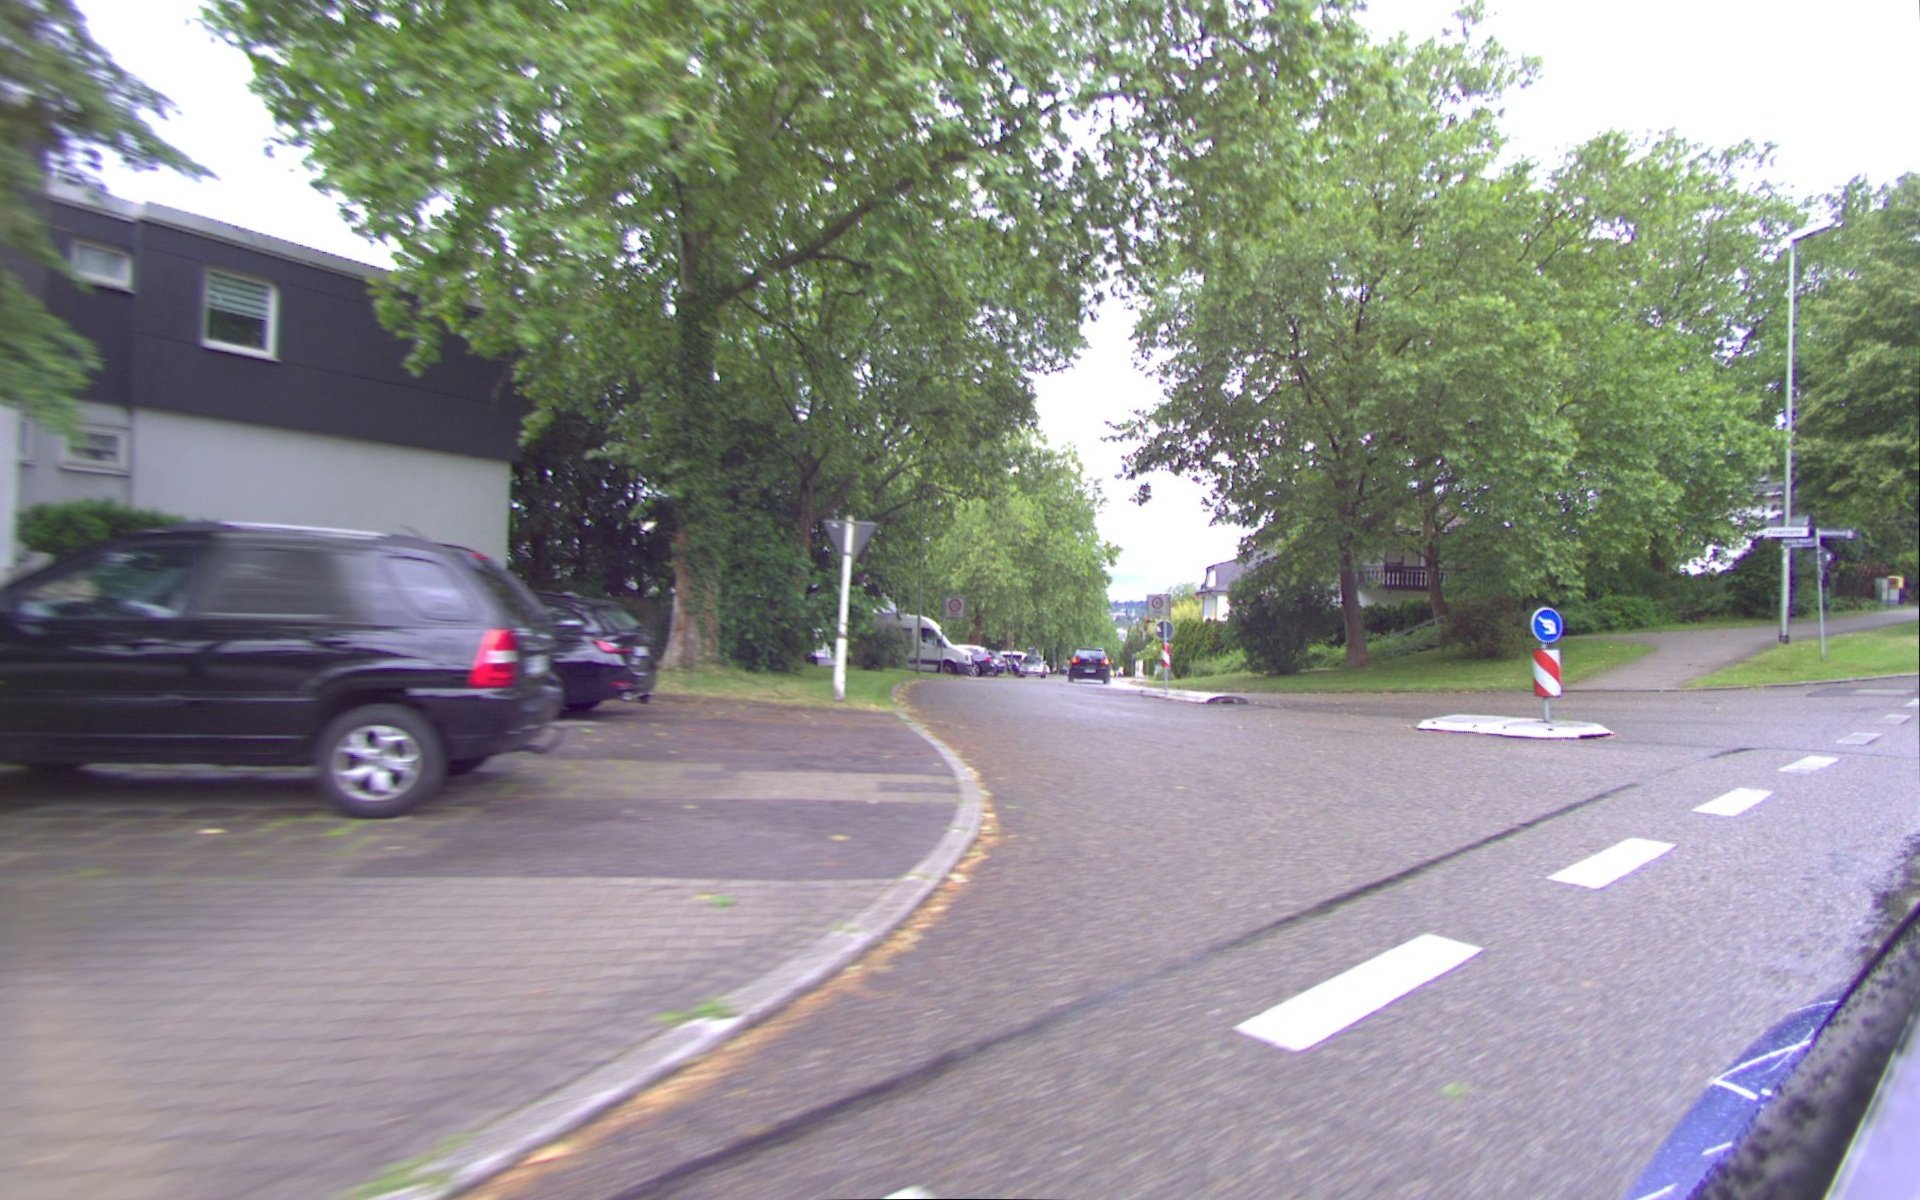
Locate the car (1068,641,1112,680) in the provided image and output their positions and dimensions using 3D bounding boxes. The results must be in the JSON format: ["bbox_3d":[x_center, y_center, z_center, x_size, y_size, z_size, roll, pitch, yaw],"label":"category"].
[{"bbox_3d":[5.427,2.518,42.269,1.698,1.483,3.989,1,-3,8],"label":"car"}]

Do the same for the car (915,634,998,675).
[{"bbox_3d":[-0.160,2.935,55.212,4.233,1.863,2.083,3,0,8],"label":"car"}]

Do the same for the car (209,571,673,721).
[{"bbox_3d":[-5.854,0.526,11.850,4.476,1.489,1.757,2,-2,-2],"label":"car"}]

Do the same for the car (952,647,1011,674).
[{"bbox_3d":[1.678,4.587,77.188,4.232,1.863,2.352,-2,-1,8],"label":"car"}]

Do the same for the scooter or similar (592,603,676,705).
[{"bbox_3d":[-4.543,0.713,14.076,1.336,1.301,0.553,2,2,45],"label":"scooter or similar"}]

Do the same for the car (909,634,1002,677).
[{"bbox_3d":[-0.169,2.886,52.354,4.626,1.864,2.354,3,-4,3],"label":"car"}]

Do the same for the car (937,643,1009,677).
[{"bbox_3d":[0.838,3.694,62.777,4.232,1.863,2.352,-2,-1,8],"label":"car"}]

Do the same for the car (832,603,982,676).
[{"bbox_3d":[-2.233,1.658,43.854,6.046,2.707,2.351,3,0,9],"label":"car"}]

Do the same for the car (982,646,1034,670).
[{"bbox_3d":[4.196,5.036,87.971,4.232,1.863,2.159,-2,-1,8],"label":"car"}]

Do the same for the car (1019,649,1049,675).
[{"bbox_3d":[4.936,4.091,67.280,1.698,1.483,3.991,-2,-1,7],"label":"car"}]

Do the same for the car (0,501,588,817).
[{"bbox_3d":[-5.106,0.339,6.520,4.801,1.711,1.957,2,-1,-12],"label":"car"}]
